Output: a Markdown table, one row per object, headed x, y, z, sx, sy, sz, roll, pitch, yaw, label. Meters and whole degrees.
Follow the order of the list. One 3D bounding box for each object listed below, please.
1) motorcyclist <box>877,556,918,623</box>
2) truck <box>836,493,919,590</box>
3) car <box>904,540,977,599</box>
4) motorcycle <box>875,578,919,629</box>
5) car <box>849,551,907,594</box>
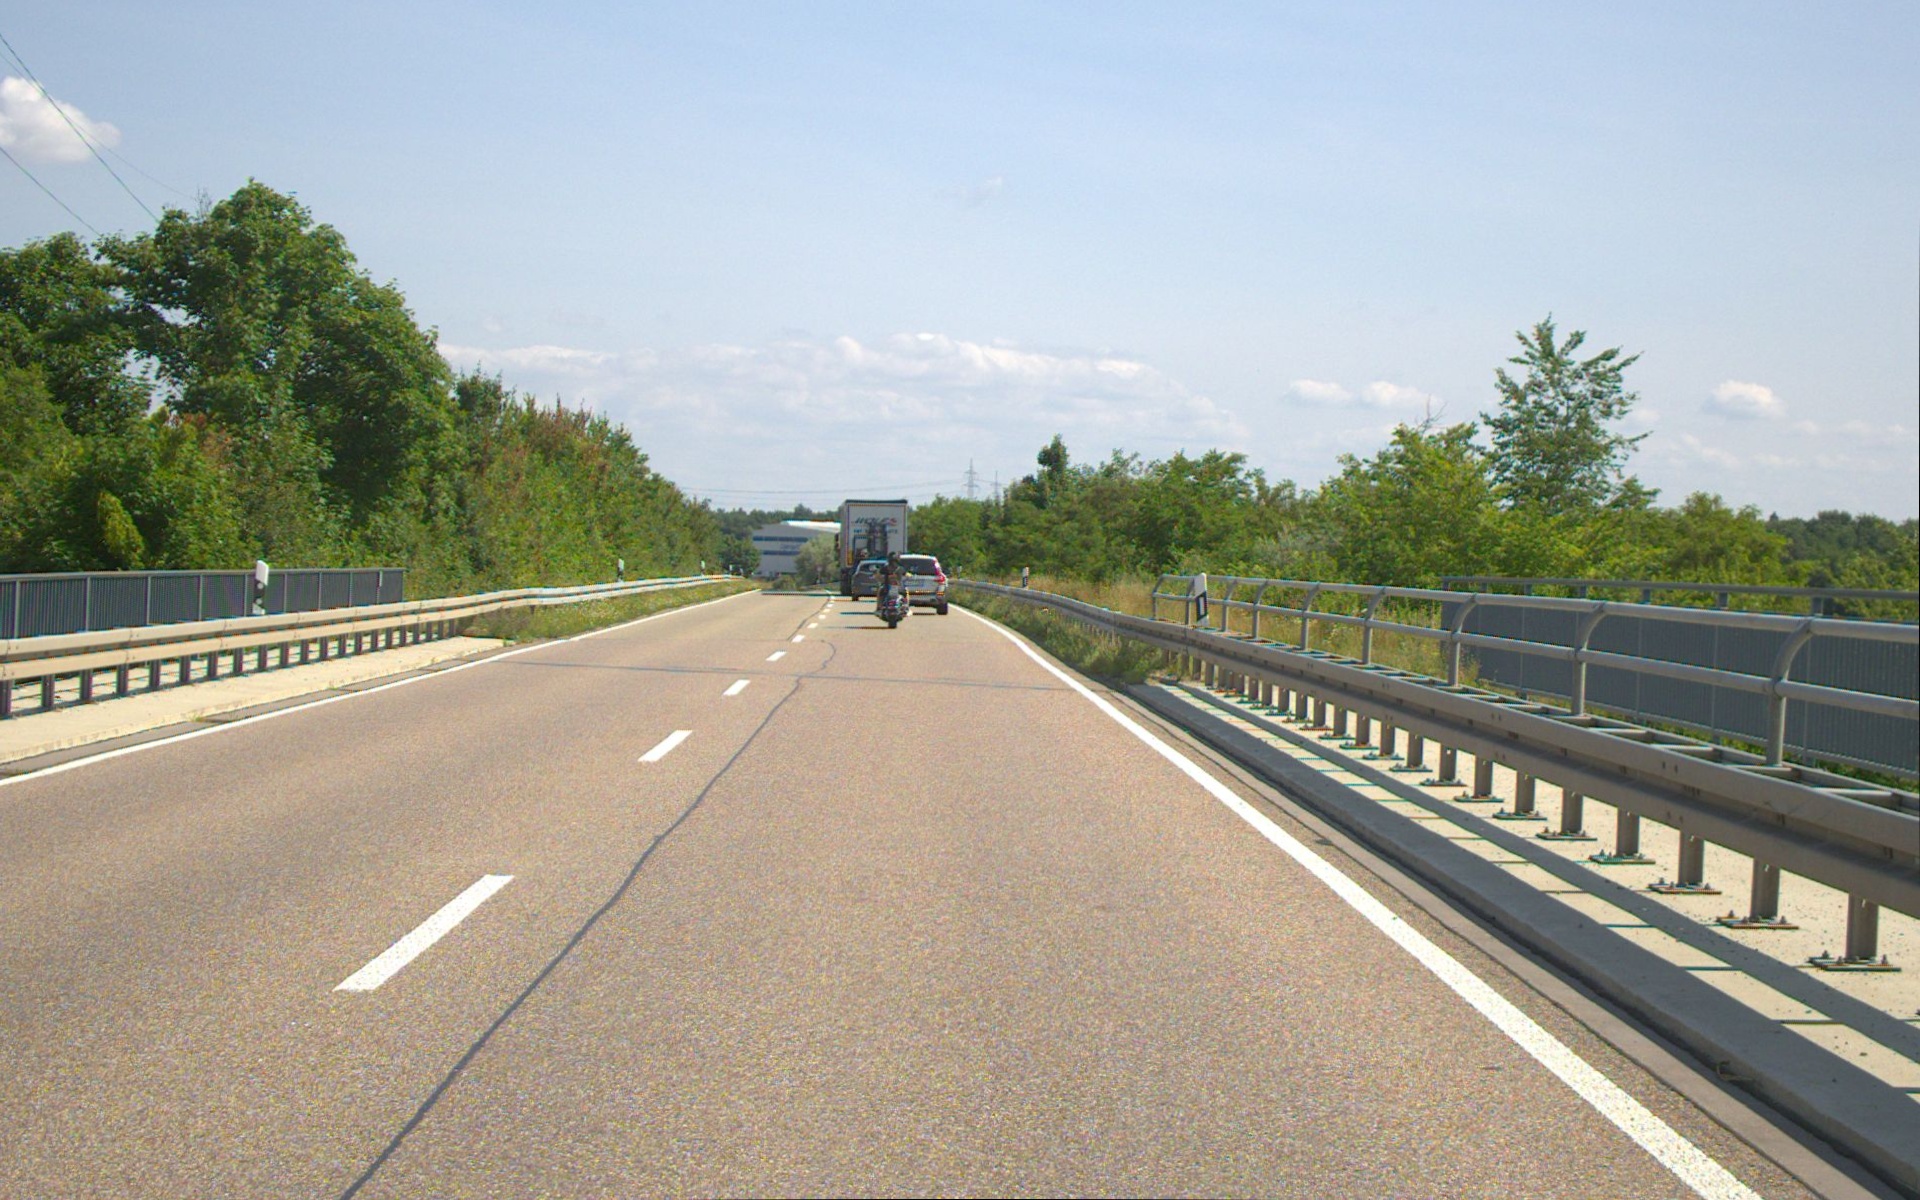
| x | y | z | sx | sy | sz | roll | pitch | yaw | label |
| --- | --- | --- | --- | --- | --- | --- | --- | --- | --- |
| -1.268 | -0.219 | 69.979 | 0.780 | 1.321 | 0.813 | 1 | 1 | 1 | motorcyclist |
| -3.601 | -2.498 | 147.874 | 3.241 | 3.965 | 9.445 | 1 | 1 | -3 | truck |
| -0.526 | -0.827 | 90.193 | 1.825 | 1.446 | 4.001 | 1 | 1 | -1 | car |
| -1.284 | 0.062 | 69.965 | 0.780 | 0.972 | 2.361 | 1 | 1 | 1 | motorcycle |
| -2.859 | -0.974 | 120.670 | 1.866 | 1.415 | 4.000 | 2 | 1 | 1 | car |
